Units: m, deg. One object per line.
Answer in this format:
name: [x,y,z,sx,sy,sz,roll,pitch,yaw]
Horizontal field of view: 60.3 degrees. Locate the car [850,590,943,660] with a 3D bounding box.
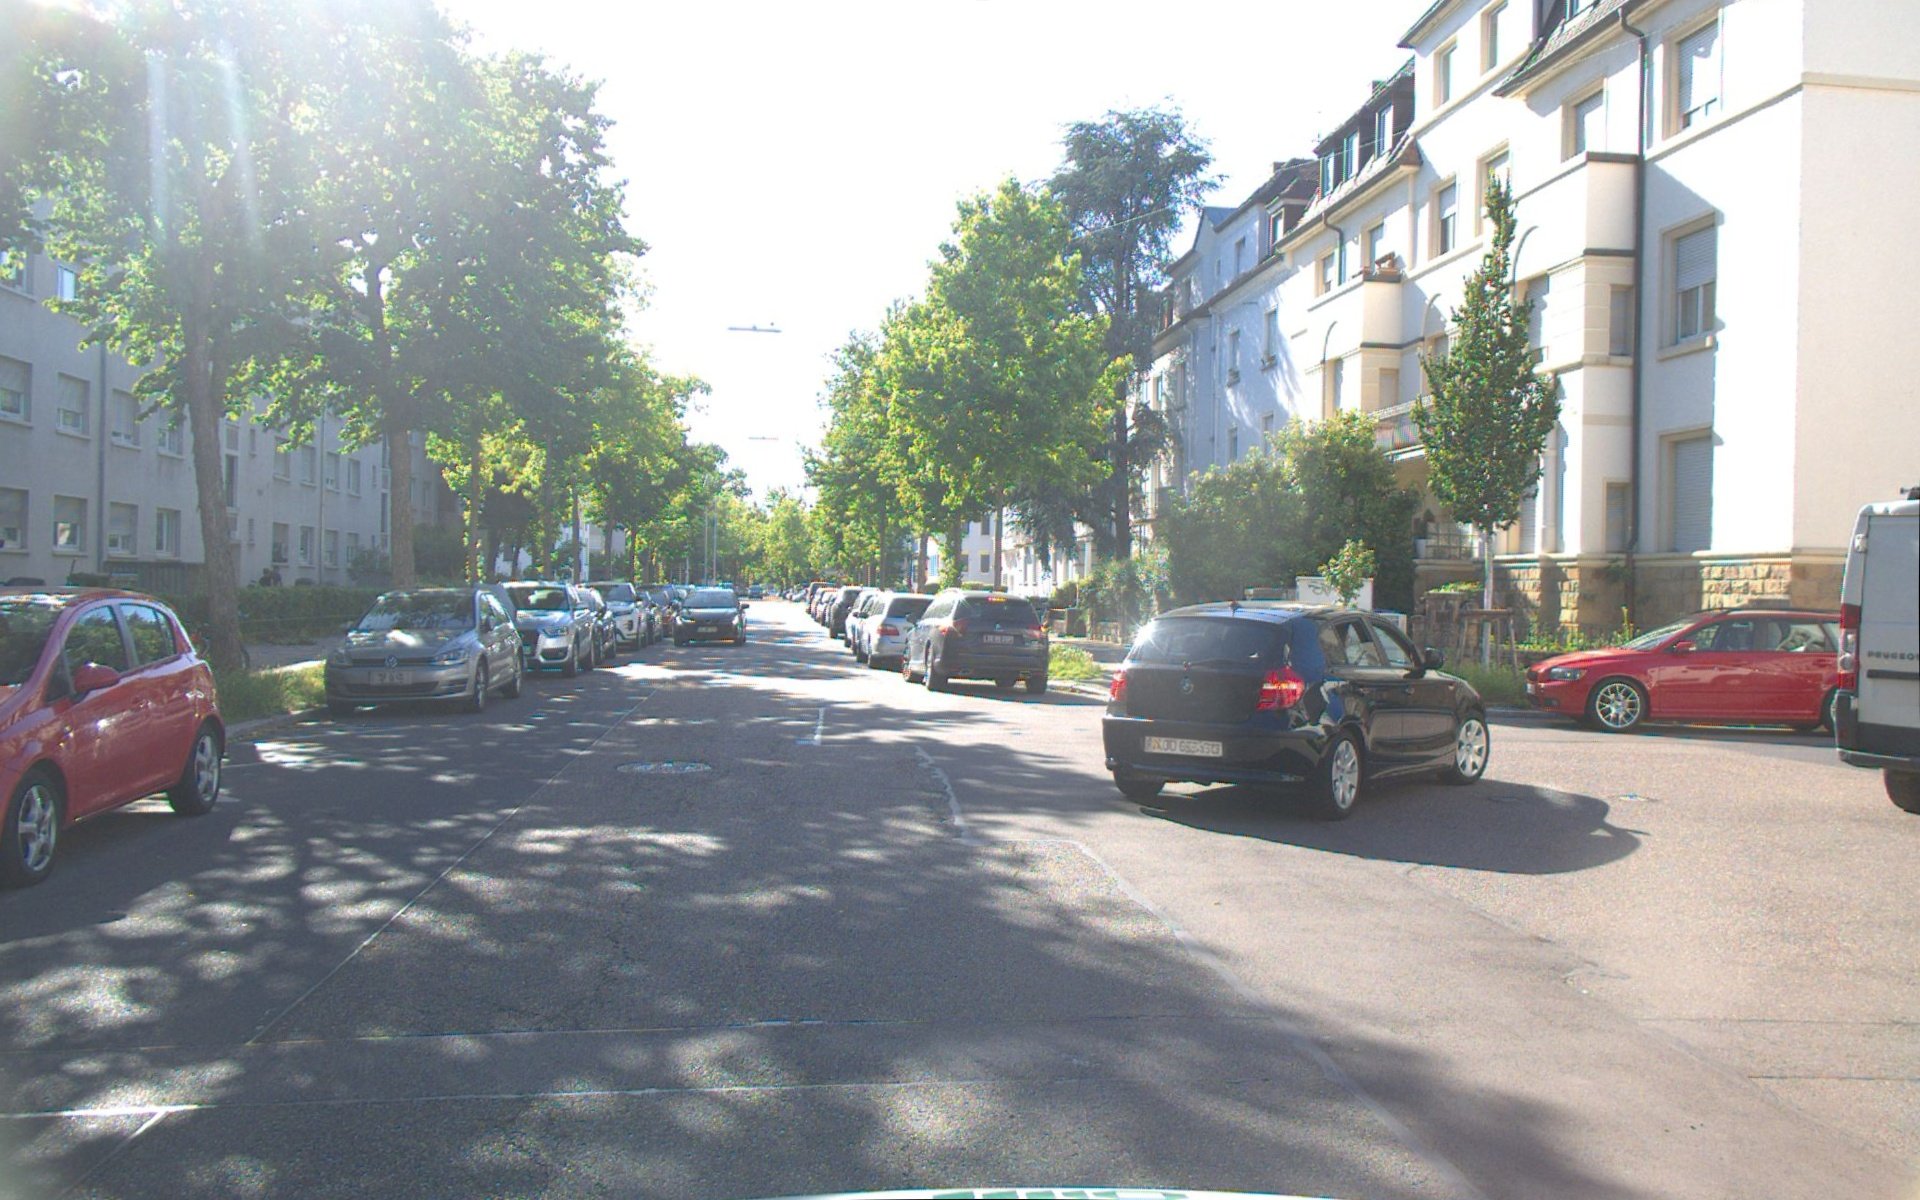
car: [-1.553,0.537,38.691,1.678,1.435,4.853,2,0,-8]

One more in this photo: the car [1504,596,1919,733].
car: [9.161,0.735,19.984,4.617,1.495,1.955,1,0,8]

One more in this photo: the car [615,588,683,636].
car: [-9.785,0.352,52.322,1.745,1.403,4.257,-1,0,-6]

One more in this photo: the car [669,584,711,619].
car: [-12.712,0.055,78.072,1.677,1.571,3.925,-1,0,-6]

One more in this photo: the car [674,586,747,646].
car: [-6.477,0.390,43.234,1.775,1.471,4.359,-1,0,-7]

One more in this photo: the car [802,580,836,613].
car: [-8.872,-0.228,103.555,1.933,1.983,4.978,1,0,-7]

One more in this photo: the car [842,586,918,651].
car: [-2.194,0.461,44.374,1.623,1.559,3.962,3,0,-8]

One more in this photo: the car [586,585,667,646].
car: [-9.091,0.394,45.377,1.695,1.503,4.613,-3,1,-6]

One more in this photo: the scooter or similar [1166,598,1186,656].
scooter or similar: [4.652,0.562,35.535,0.393,1.205,1.207,1,1,9]

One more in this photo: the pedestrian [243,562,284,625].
pedestrian: [-21.477,-0.204,51.026,0.764,1.947,0.879,0,0,20]

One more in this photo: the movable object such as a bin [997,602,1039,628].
movable object such as a bin: [2.095,0.528,59.389,1.195,0.920,1.665,1,0,14]

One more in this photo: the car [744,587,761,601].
car: [-24.060,-0.676,191.597,1.751,1.637,3.990,0,0,-11]

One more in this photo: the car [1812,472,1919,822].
car: [8.764,0.333,12.074,4.987,2.346,2.212,0,0,-30]

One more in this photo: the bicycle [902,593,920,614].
bicycle: [-2.728,0.195,92.540,0.671,1.173,2.398,0,0,-9]

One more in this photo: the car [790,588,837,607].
car: [-12.832,-0.242,144.835,3.915,1.615,1.723,1,0,-11]

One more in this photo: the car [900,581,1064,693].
car: [0.234,0.540,26.059,1.860,1.551,4.958,2,-1,-8]

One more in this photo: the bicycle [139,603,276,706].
bicycle: [-8.647,0.599,19.105,0.520,1.032,2.090,8,0,-1]

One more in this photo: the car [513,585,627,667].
car: [-7.834,0.461,33.552,1.695,1.472,4.813,-2,1,-7]

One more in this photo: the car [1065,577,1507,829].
car: [2.575,0.616,12.318,1.753,1.550,3.985,0,0,36]

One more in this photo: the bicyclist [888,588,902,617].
bicyclist: [-3.638,0.124,92.472,0.664,1.638,0.919,0,0,-10]

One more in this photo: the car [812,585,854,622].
car: [-6.414,0.151,83.397,1.871,1.728,4.307,4,0,-7]

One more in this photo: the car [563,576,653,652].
car: [-8.471,0.309,40.078,1.696,1.646,4.359,-3,1,-7]

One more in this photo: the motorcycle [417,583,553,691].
motorcycle: [-7.031,0.514,24.433,2.195,1.530,0.983,0,0,44]

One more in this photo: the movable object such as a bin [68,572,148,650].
movable object such as a bin: [-15.018,0.184,29.191,0.913,1.347,1.375,0,0,-12]

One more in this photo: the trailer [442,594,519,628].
trailer: [-15.571,0.343,53.853,1.754,1.052,3.278,1,0,-4]

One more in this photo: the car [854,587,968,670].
car: [-1.079,0.521,33.729,1.787,1.495,4.901,2,0,-8]

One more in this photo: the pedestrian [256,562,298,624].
pedestrian: [-21.597,-0.215,52.305,0.914,1.921,1.025,1,0,-3]

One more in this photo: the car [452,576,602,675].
car: [-7.318,0.380,28.399,2.026,1.551,4.712,1,0,-9]

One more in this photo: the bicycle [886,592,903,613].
bicycle: [-3.657,0.146,92.566,0.671,1.173,2.398,0,0,-9]

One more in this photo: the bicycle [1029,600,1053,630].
bicycle: [2.745,0.494,55.939,0.570,0.992,1.901,0,0,-5]

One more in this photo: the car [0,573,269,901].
car: [-5.455,0.595,9.211,1.820,1.495,4.177,1,0,-6]

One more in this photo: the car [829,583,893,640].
car: [-3.264,0.335,53.882,1.888,1.680,5.090,3,0,-5]

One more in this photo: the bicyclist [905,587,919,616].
bicyclist: [-2.684,0.086,92.278,0.664,1.580,1.019,0,0,-10]

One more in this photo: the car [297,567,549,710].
car: [-6.508,0.411,20.616,2.003,1.551,4.601,1,0,-5]

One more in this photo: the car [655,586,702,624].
car: [-12.206,0.195,71.959,1.777,1.624,4.227,0,0,-7]

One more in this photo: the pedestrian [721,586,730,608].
pedestrian: [-21.237,-0.265,149.666,0.703,1.933,0.833,1,0,-16]
